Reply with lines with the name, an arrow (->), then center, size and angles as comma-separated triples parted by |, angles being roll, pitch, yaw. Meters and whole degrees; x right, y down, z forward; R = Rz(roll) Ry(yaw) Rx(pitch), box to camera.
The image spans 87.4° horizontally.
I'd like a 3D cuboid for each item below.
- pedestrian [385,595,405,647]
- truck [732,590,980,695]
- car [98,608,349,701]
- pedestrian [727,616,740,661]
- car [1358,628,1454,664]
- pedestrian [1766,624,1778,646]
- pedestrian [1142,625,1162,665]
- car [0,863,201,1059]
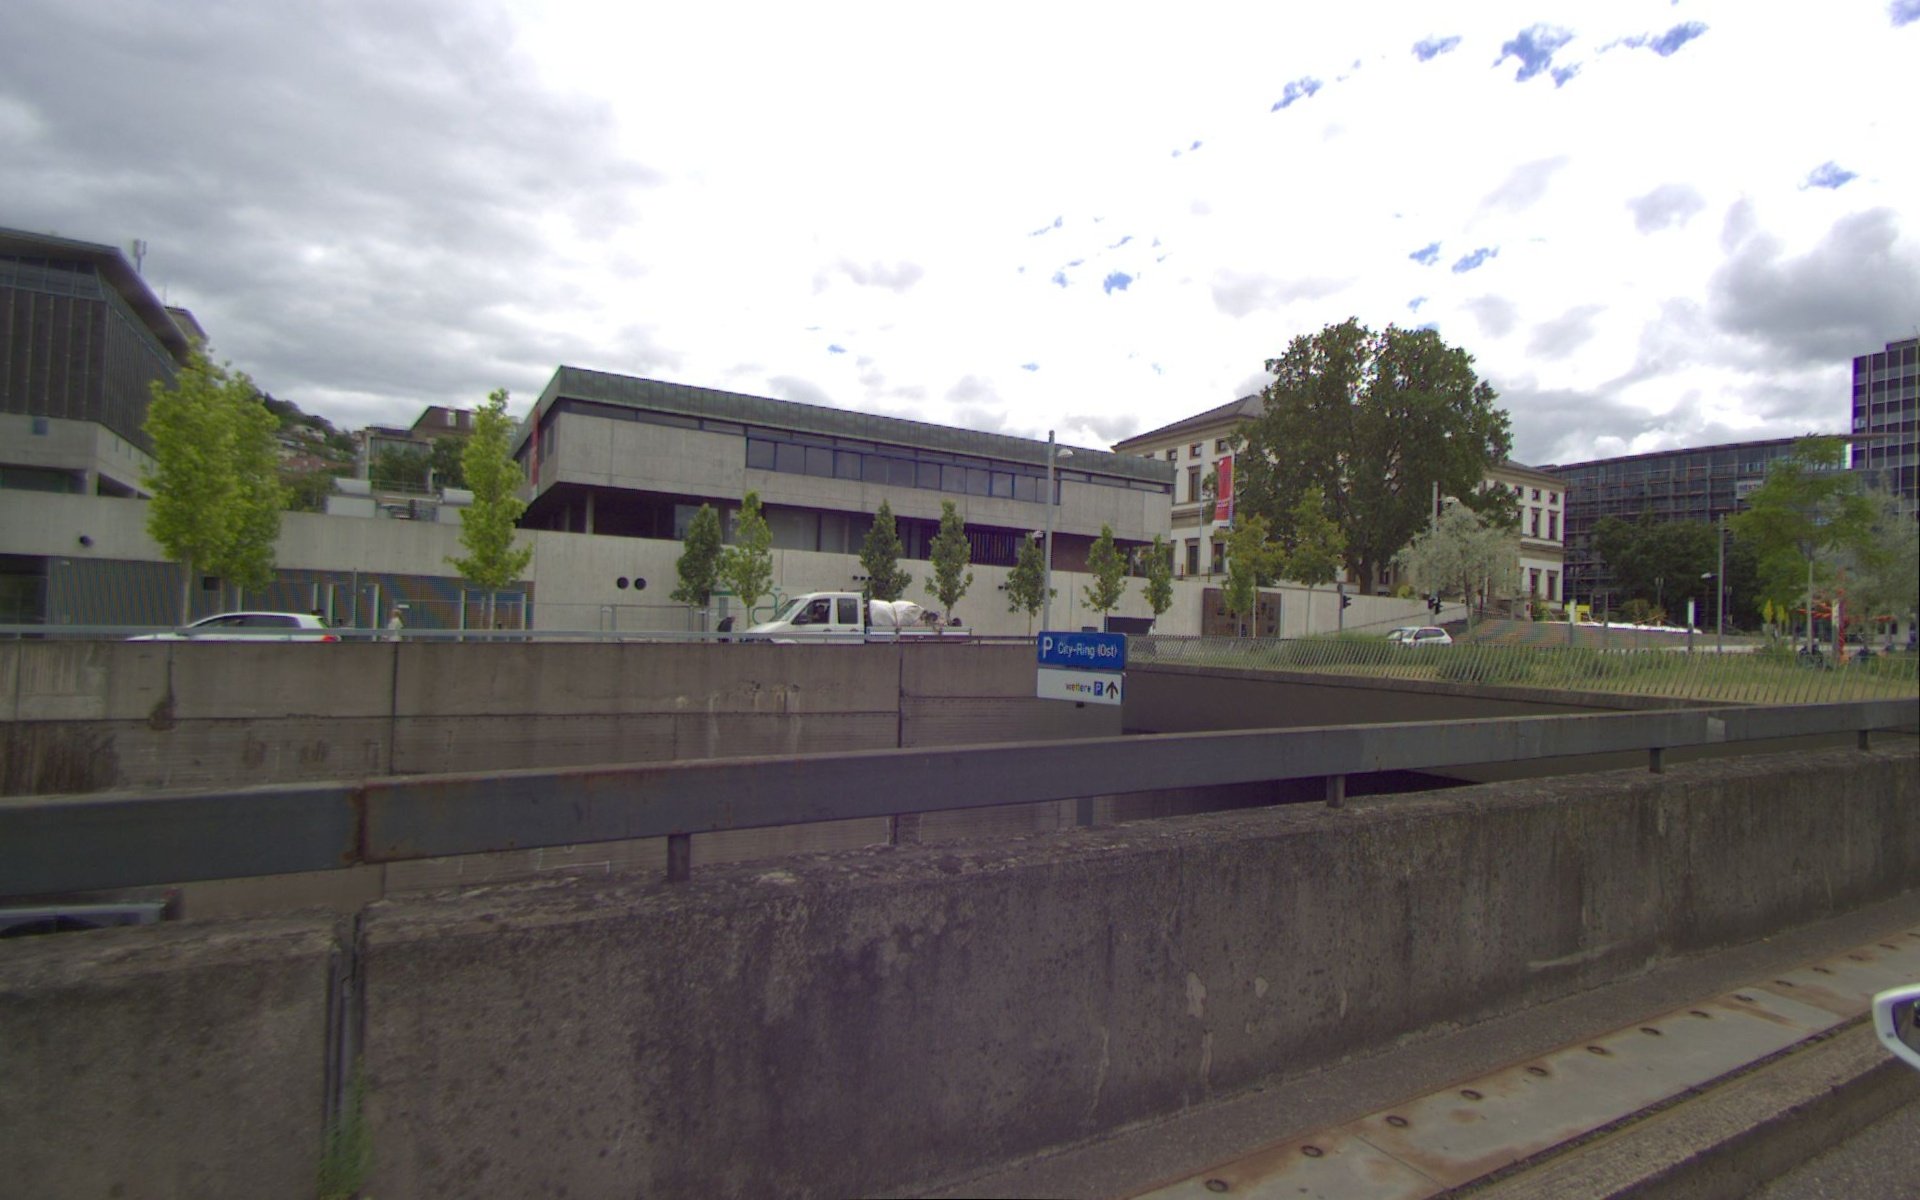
pedestrian -> -16.827, 0.629, 29.925 | 0.457, 1.542, 0.424 | 2, 0, -36
truck -> -3.038, 1.192, 29.996 | 6.990, 2.854, 2.454 | 1, 0, -29
car -> -15.985, 1.133, 22.116 | 4.207, 1.840, 1.984 | 1, 0, -30
pedestrian -> -7.998, 1.357, 35.440 | 0.314, 1.542, 0.315 | 2, 0, -36
car -> 20.859, 2.105, 46.914 | 4.555, 1.595, 1.712 | 1, 0, -29
pedestrian -> 63.600, 2.764, 78.663 | 0.643, 1.671, 0.521 | 2, 0, -31
pedestrian -> 8.464, 1.970, 44.213 | 0.655, 1.757, 0.537 | 1, 0, -30
car -> -13.636, 5.206, 14.350 | 4.179, 1.981, 1.984 | 2, 0, -30
